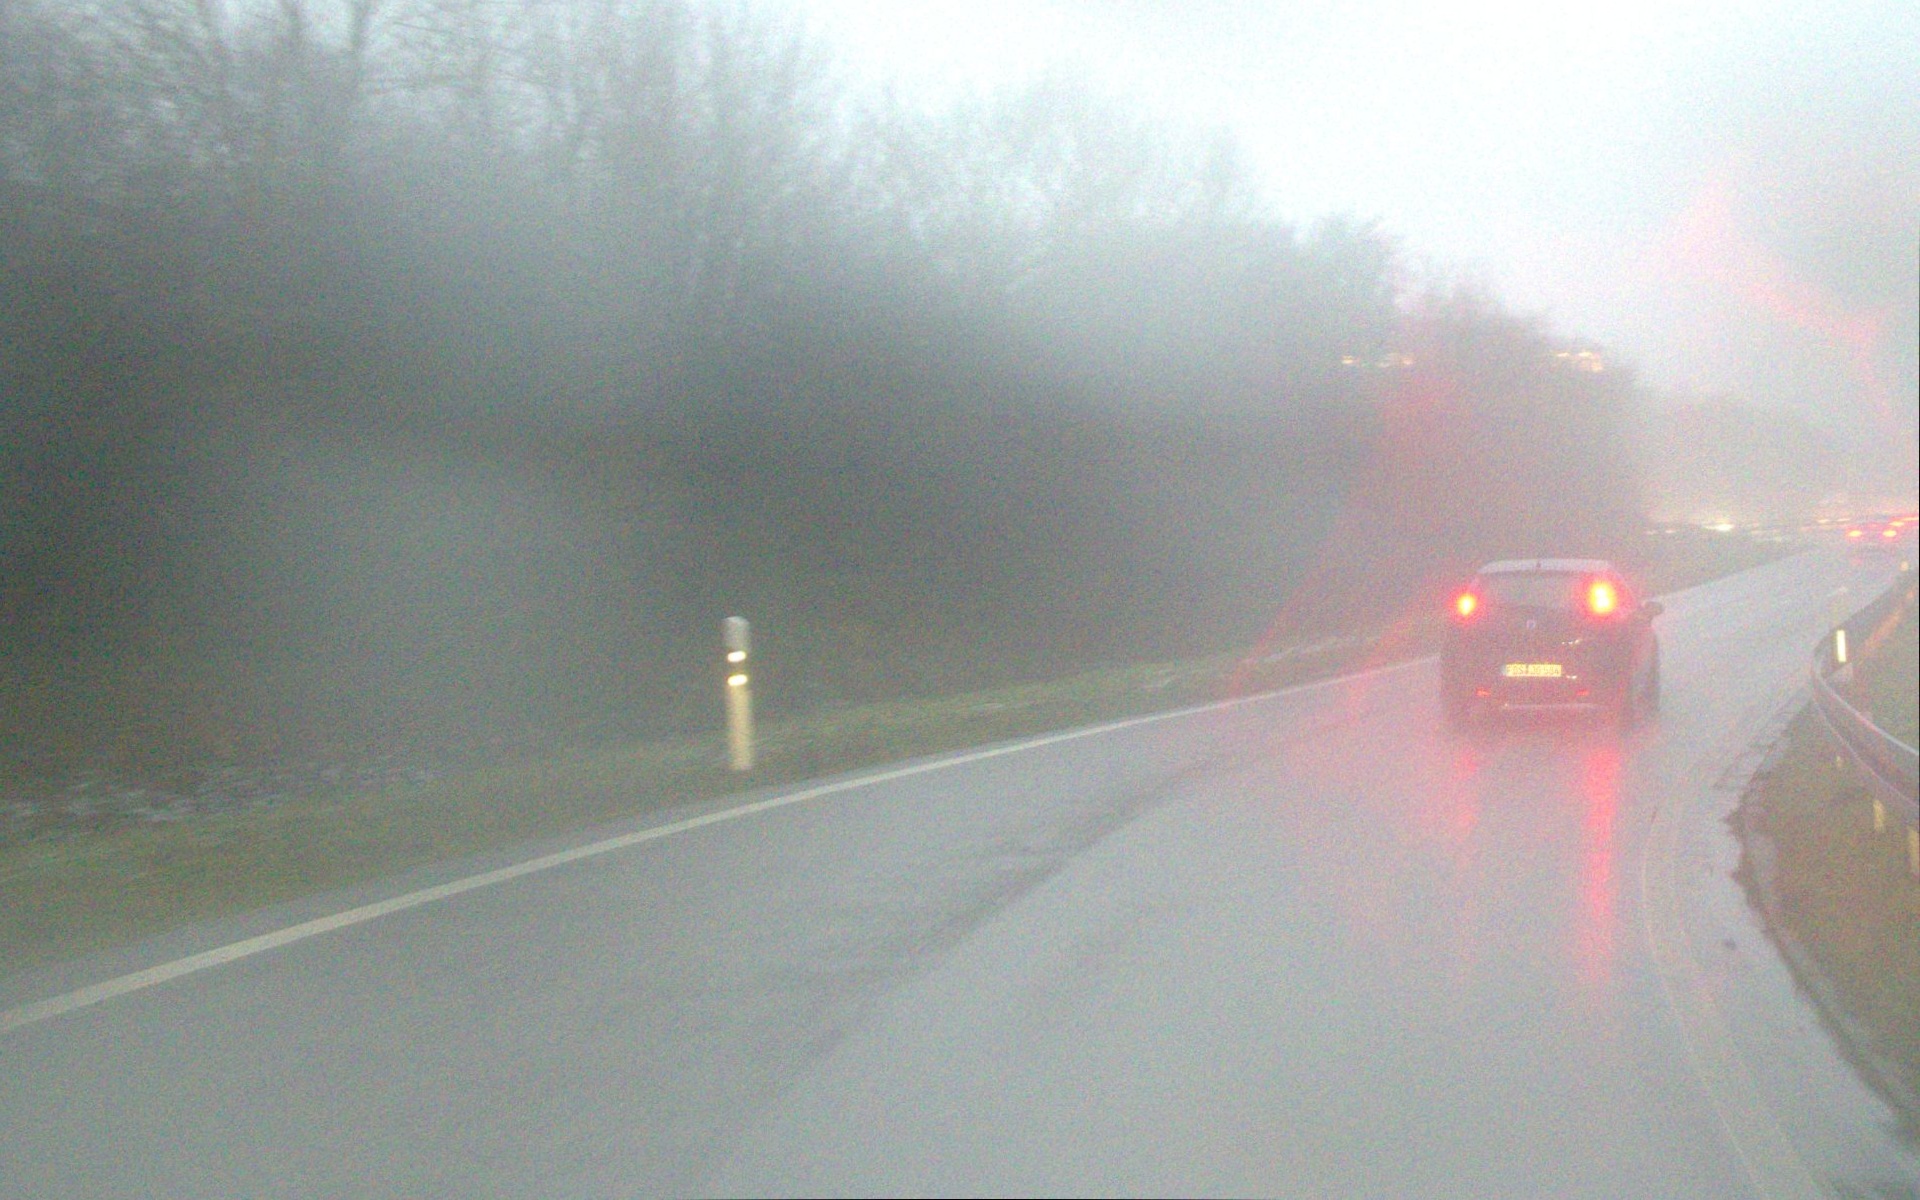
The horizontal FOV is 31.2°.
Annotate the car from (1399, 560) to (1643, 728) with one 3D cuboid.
[{"bbox_3d":[5.240,0.372,31.761,1.733,1.424,3.762,1,0,17],"label":"car"}]
